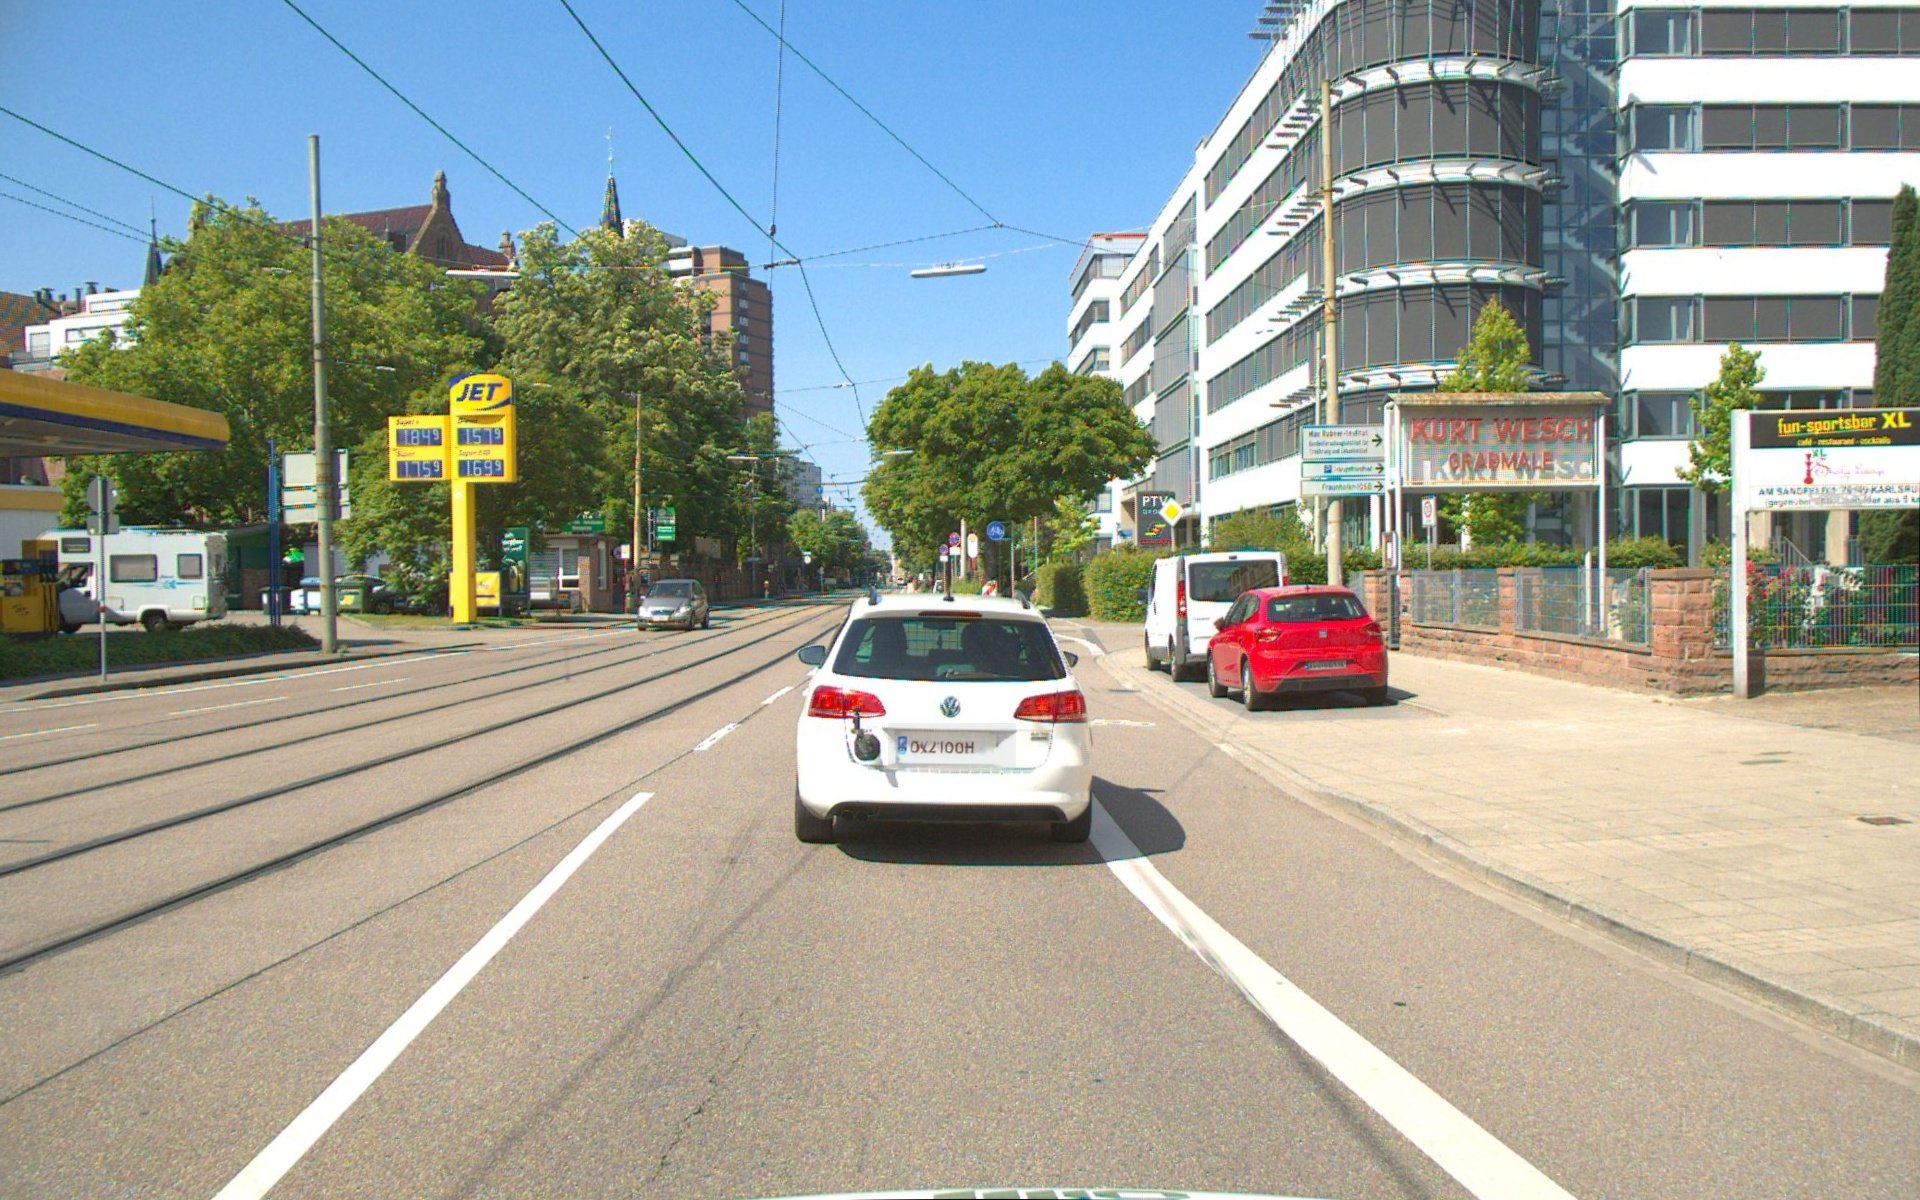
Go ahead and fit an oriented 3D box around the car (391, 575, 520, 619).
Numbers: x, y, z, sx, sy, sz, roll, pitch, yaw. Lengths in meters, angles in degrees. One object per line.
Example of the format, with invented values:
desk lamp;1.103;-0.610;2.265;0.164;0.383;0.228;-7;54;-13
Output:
car;-19.852;-0.156;65.163;1.915;1.653;4.551;0;1;42

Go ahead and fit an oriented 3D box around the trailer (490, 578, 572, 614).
trailer;-18.994;-0.204;73.306;3.150;1.552;1.777;0;1;-1

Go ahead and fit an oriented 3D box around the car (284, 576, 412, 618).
car;-24.888;-0.154;67.377;1.916;1.611;4.549;0;1;43

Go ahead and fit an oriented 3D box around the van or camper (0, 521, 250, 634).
van or camper;-24.773;-0.652;48.754;6.573;3.019;2.609;2;0;-12

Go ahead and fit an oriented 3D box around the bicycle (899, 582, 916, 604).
bicycle;-2.660;-0.351;83.969;0.794;1.097;2.011;0;1;-1

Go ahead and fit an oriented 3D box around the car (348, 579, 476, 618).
car;-21.990;-0.093;66.477;1.915;1.493;4.551;0;1;42

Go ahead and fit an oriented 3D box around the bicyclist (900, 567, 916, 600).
bicyclist;-2.631;-0.828;84.192;0.770;1.658;0.738;1;-1;-2

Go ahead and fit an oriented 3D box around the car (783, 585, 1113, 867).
car;-0.112;0.644;10.863;1.718;1.467;4.411;0;0;-1

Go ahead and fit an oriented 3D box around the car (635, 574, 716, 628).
car;-9.141;0.023;53.405;1.709;1.598;3.893;-2;0;3

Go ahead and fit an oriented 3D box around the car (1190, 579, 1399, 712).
car;4.187;0.504;21.358;1.687;1.468;4.311;-3;1;-1

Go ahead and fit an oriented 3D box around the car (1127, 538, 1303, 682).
car;4.105;0.123;27.522;1.936;2.090;5.190;-3;1;-1
